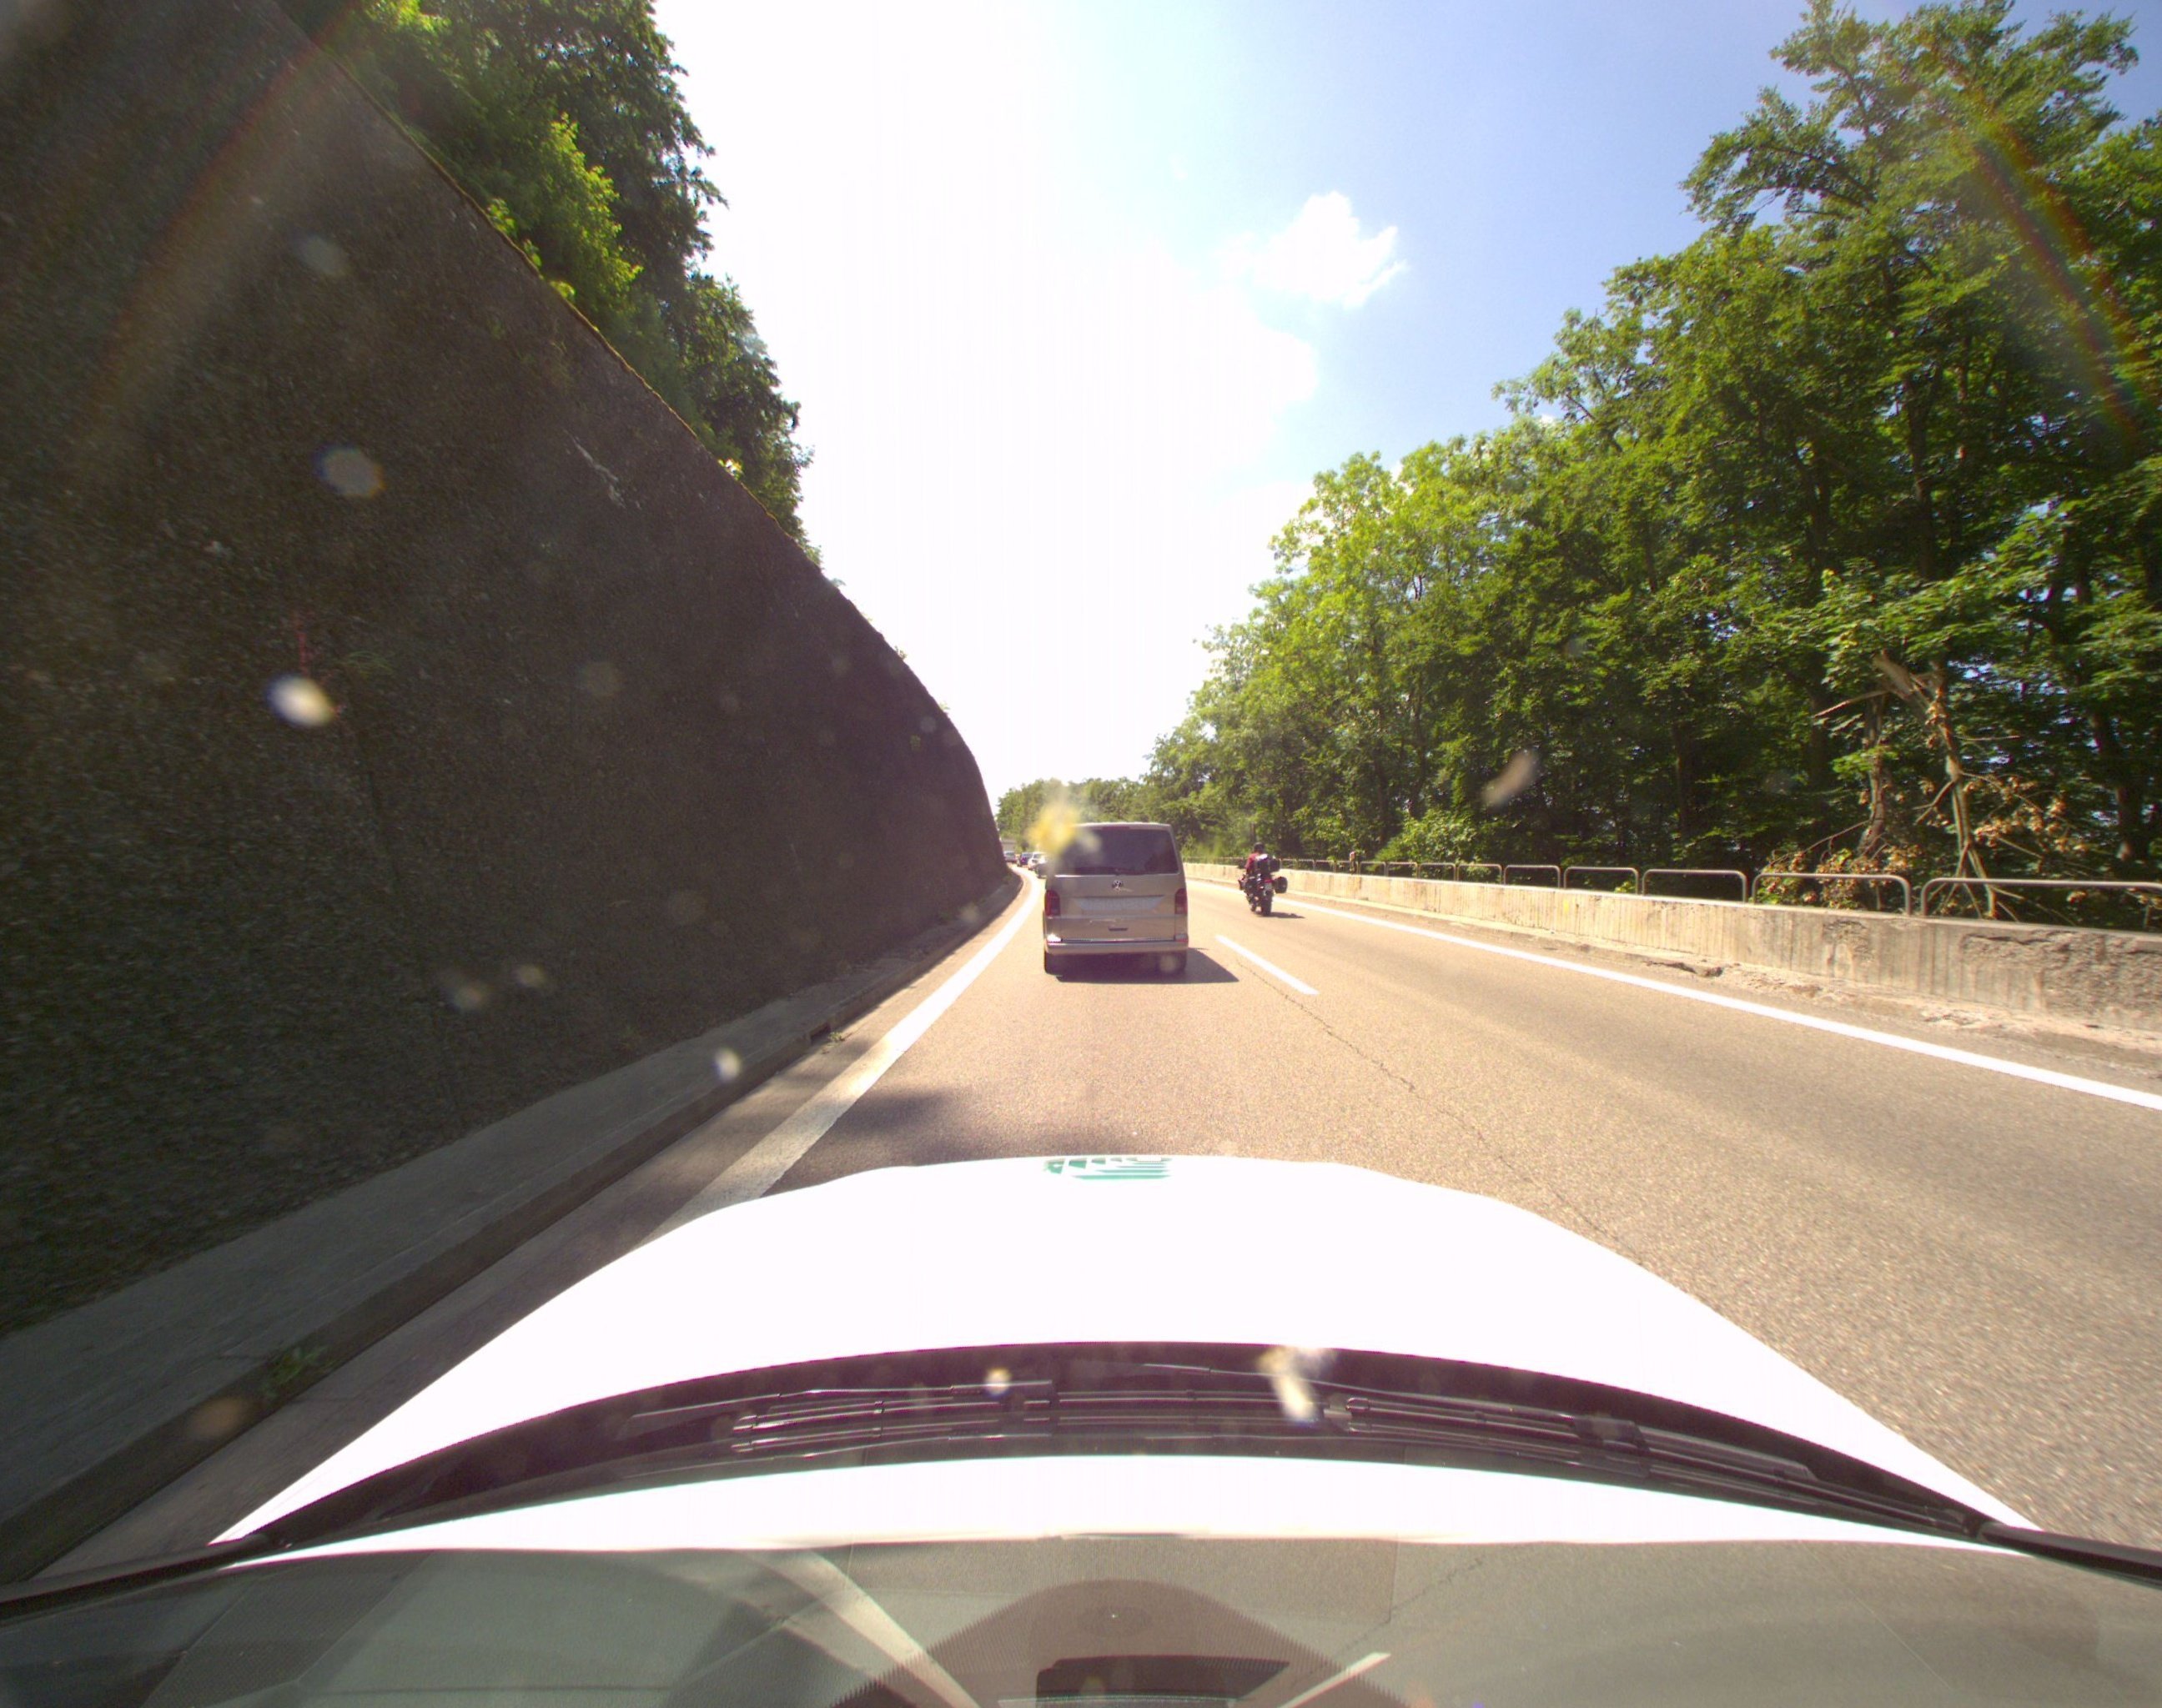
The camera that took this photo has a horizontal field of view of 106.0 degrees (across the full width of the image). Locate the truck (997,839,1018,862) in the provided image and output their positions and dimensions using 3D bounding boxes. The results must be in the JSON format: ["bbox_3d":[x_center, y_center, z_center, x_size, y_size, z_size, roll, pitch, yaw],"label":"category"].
[{"bbox_3d":[-12.343,-0.556,136.472,2.925,3.687,7.699,1,0,-9],"label":"truck"}]

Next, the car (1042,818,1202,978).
[{"bbox_3d":[0.424,0.534,12.219,1.935,1.931,4.690,1,0,-2],"label":"car"}]

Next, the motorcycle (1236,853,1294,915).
[{"bbox_3d":[4.521,0.695,20.263,0.968,1.419,2.683,0,0,3],"label":"motorcycle"}]

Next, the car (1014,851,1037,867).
[{"bbox_3d":[-5.598,0.495,81.724,1.858,1.619,3.986,1,0,-10],"label":"car"}]

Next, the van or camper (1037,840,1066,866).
[{"bbox_3d":[-3.561,-0.168,97.136,2.603,2.855,6.317,4,0,-9],"label":"van or camper"}]

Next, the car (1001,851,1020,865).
[{"bbox_3d":[-8.414,0.414,96.880,1.993,1.618,3.987,0,0,-9],"label":"car"}]

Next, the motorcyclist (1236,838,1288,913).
[{"bbox_3d":[4.522,0.523,20.461,1.056,1.800,1.339,0,0,2],"label":"motorcyclist"}]

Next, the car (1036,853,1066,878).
[{"bbox_3d":[-1.838,0.688,49.730,1.767,1.472,3.996,0,0,-3],"label":"car"}]

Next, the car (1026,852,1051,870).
[{"bbox_3d":[-3.611,0.571,68.678,1.861,1.486,3.990,1,0,-7],"label":"car"}]

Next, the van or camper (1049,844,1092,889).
[{"bbox_3d":[-0.475,0.531,37.210,1.848,1.942,4.163,0,0,-1],"label":"van or camper"}]

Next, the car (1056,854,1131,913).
[{"bbox_3d":[0.263,0.770,23.353,1.900,1.489,4.376,1,0,-2],"label":"car"}]
